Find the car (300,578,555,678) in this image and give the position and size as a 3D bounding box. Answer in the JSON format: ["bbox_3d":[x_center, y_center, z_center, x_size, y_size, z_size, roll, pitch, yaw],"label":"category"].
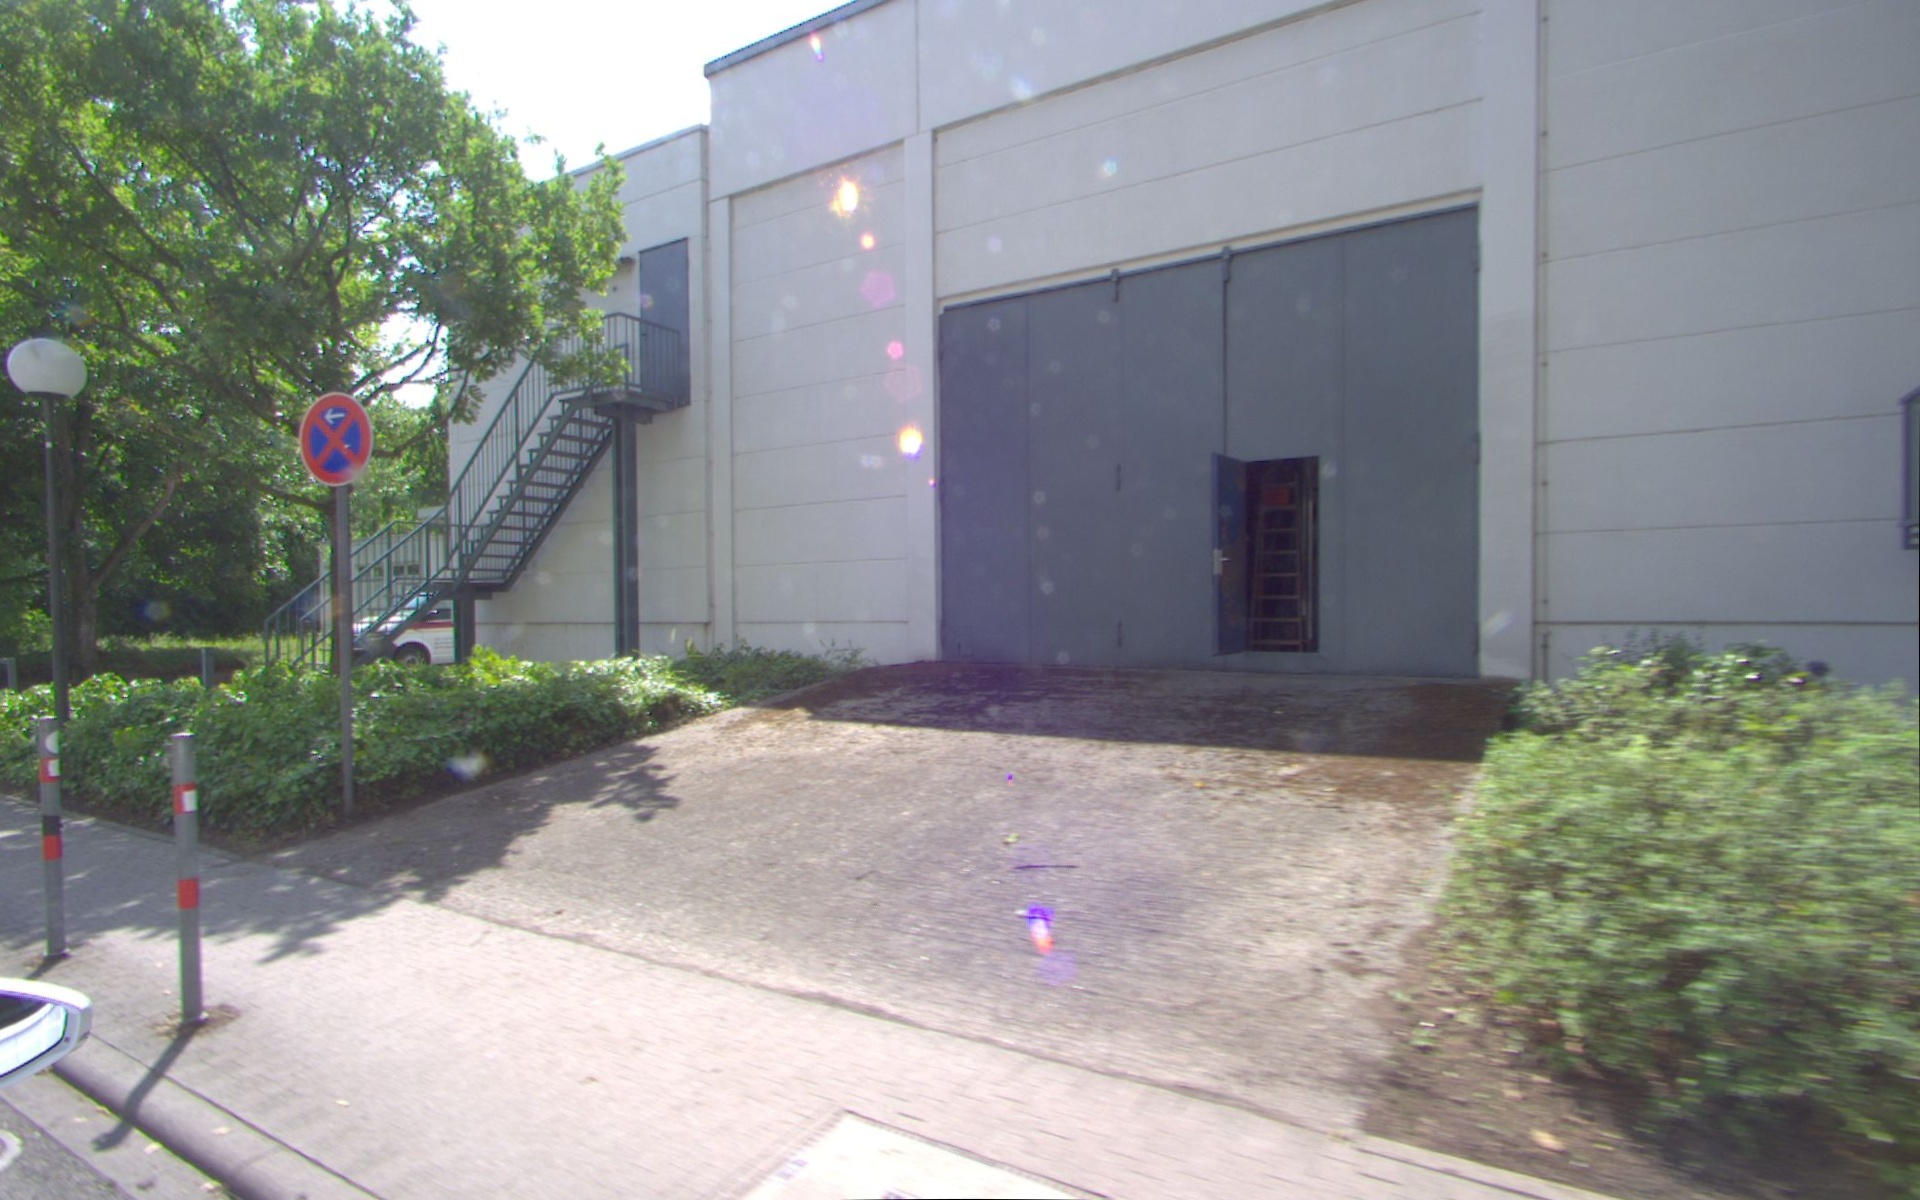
[{"bbox_3d":[-12.059,0.594,23.033,2.033,2.040,4.814,-1,0,33],"label":"car"}]
